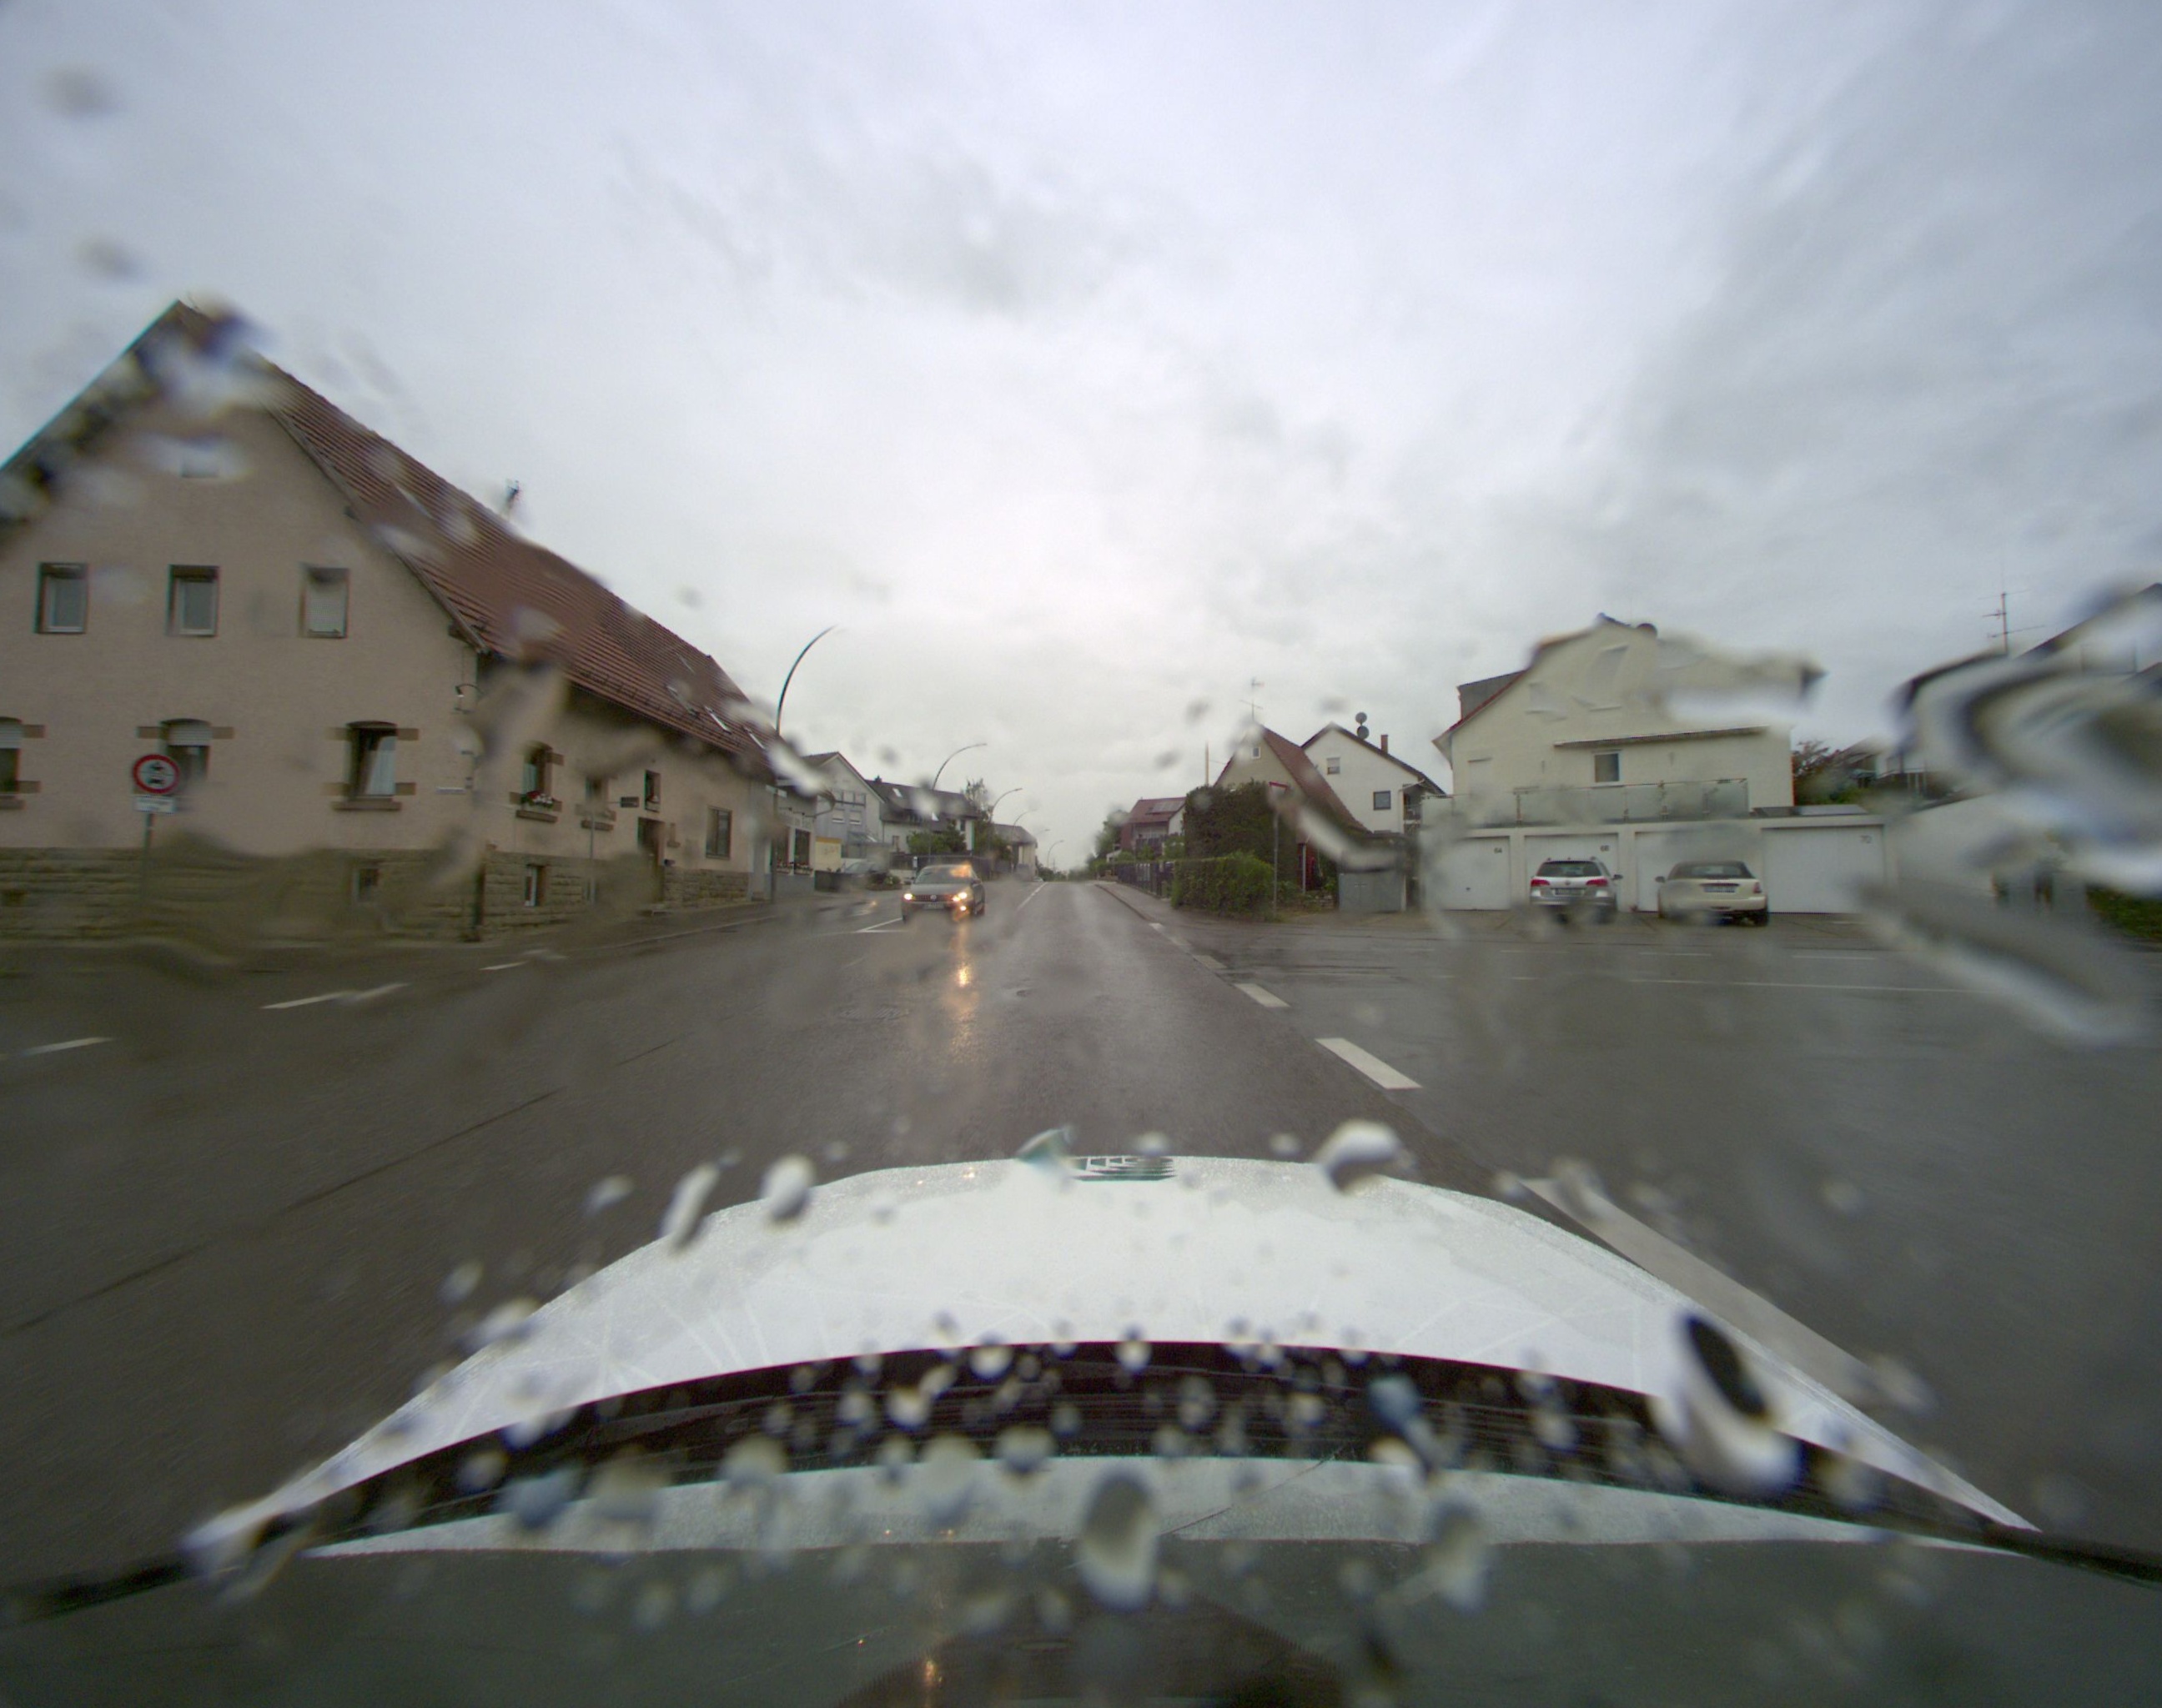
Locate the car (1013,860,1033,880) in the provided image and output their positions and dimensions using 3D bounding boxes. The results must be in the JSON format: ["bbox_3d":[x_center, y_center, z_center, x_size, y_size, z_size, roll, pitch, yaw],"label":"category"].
[{"bbox_3d":[-7.831,2.239,110.974,2.086,2.649,5.919,1,-2,2],"label":"car"}]

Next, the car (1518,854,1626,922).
[{"bbox_3d":[11.956,0.763,19.714,1.974,1.398,4.177,-2,-1,34],"label":"car"}]

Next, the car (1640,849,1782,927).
[{"bbox_3d":[14.237,0.711,18.659,1.974,1.530,4.025,-2,0,30],"label":"car"}]

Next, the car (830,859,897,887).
[{"bbox_3d":[-12.218,1.028,46.048,1.886,1.442,3.845,1,0,17],"label":"car"}]

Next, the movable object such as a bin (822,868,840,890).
[{"bbox_3d":[-12.472,1.250,40.602,0.633,1.032,0.607,-2,-1,12],"label":"movable object such as a bin"}]

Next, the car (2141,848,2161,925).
[{"bbox_3d":[22.225,0.600,14.322,3.951,1.464,1.880,0,0,24],"label":"car"}]

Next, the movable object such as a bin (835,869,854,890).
[{"bbox_3d":[-11.745,1.272,40.451,0.633,1.032,0.676,-2,-1,12],"label":"movable object such as a bin"}]

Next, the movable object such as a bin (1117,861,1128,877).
[{"bbox_3d":[2.756,1.007,53.696,0.525,1.021,0.736,-2,-1,18],"label":"movable object such as a bin"}]

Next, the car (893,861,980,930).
[{"bbox_3d":[-3.657,0.983,21.270,1.942,1.574,4.216,-1,0,-6],"label":"car"}]

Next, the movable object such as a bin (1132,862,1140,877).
[{"bbox_3d":[3.642,1.022,53.620,0.440,1.021,0.526,-2,-1,7],"label":"movable object such as a bin"}]

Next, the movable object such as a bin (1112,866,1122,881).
[{"bbox_3d":[2.451,1.328,55.368,0.624,1.021,0.541,-2,-1,4],"label":"movable object such as a bin"}]

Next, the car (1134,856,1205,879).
[{"bbox_3d":[6.131,0.948,56.416,4.522,1.384,2.009,-2,0,16],"label":"car"}]
